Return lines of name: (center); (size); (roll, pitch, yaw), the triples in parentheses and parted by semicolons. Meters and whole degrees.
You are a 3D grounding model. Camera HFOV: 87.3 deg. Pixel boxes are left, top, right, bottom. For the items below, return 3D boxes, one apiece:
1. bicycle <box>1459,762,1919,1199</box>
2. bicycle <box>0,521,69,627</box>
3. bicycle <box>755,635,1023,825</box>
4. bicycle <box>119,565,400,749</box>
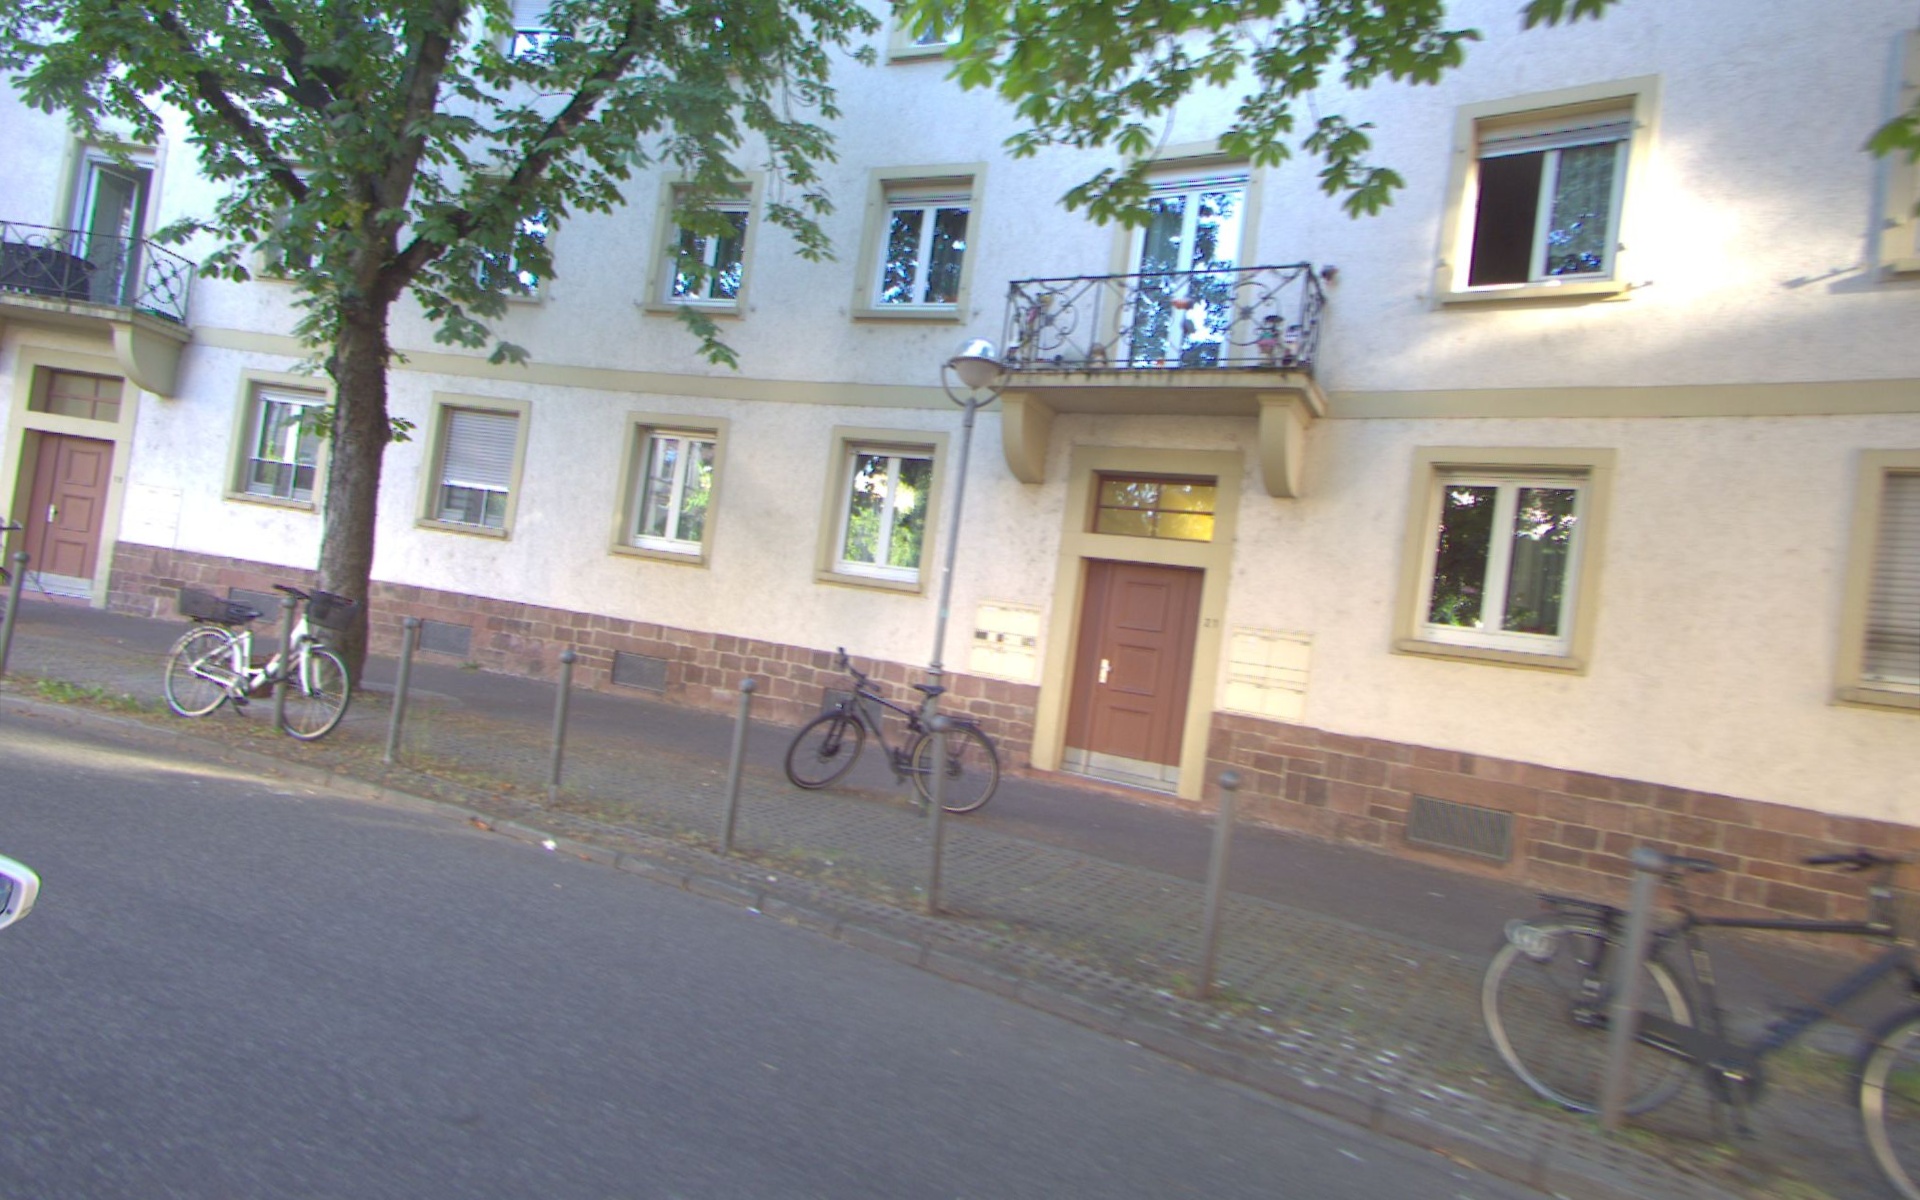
bicycle: (2.858, 1.357, 3.472); (1.882, 1.237, 0.719); (7, -1, 30)
bicycle: (-11.411, -0.394, 11.543); (1.929, 1.120, 0.670); (8, -2, 13)
bicycle: (-0.518, 0.978, 7.866); (1.823, 1.131, 0.804); (8, -2, 8)
bicycle: (-5.406, 0.418, 7.767); (1.936, 1.109, 0.514); (7, 0, 13)
